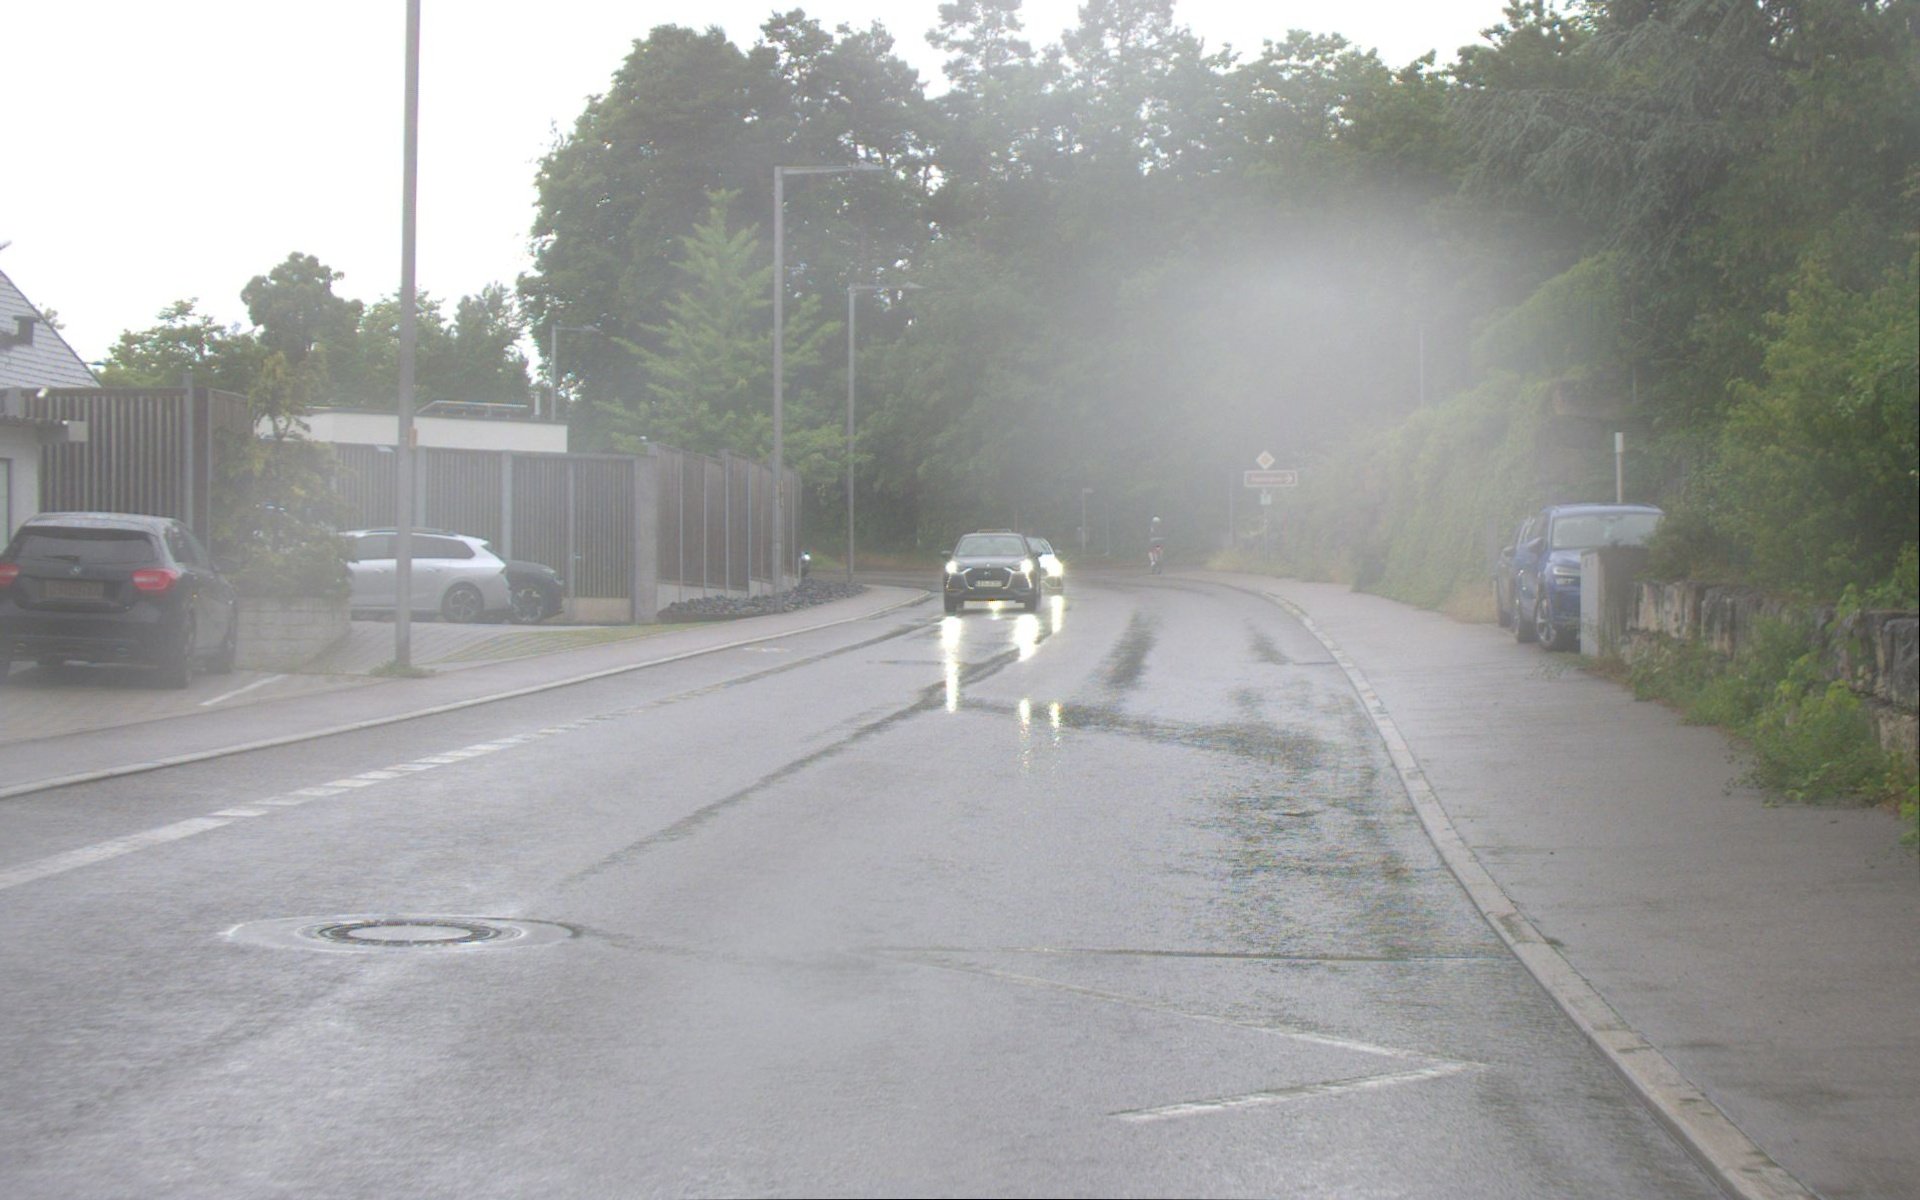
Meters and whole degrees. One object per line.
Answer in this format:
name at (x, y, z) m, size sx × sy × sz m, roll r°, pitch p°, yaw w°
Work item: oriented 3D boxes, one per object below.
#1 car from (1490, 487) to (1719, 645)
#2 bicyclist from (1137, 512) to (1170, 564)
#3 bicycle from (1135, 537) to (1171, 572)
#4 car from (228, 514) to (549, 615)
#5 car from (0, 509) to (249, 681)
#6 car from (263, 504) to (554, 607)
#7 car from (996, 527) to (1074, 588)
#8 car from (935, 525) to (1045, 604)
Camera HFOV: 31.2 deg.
car at (7.513, -0.424, 40.491) m, size 1.994 × 1.664 × 4.544 m, roll -3°, pitch 1°, yaw 3°
bicyclist at (5.995, -1.931, 106.602) m, size 0.720 × 1.609 × 0.905 m, roll 0°, pitch 1°, yaw -19°
bicycle at (5.992, -1.417, 106.588) m, size 0.527 × 1.081 × 1.621 m, roll 0°, pitch 1°, yaw -19°
car at (-8.749, -0.540, 52.787) m, size 4.519 × 1.437 × 1.761 m, roll 1°, pitch 1°, yaw -34°
car at (-7.501, -0.094, 30.440) m, size 1.833 × 1.401 × 4.261 m, roll 1°, pitch 1°, yaw -5°
car at (-8.955, -0.723, 55.852) m, size 4.279 × 1.595 × 1.838 m, roll 0°, pitch 1°, yaw -30°
car at (1.850, -1.072, 84.970) m, size 1.847 × 1.455 × 4.268 m, roll 1°, pitch 1°, yaw 1°
car at (0.617, -0.705, 66.860) m, size 1.851 × 1.464 × 3.699 m, roll 1°, pitch 1°, yaw 5°
